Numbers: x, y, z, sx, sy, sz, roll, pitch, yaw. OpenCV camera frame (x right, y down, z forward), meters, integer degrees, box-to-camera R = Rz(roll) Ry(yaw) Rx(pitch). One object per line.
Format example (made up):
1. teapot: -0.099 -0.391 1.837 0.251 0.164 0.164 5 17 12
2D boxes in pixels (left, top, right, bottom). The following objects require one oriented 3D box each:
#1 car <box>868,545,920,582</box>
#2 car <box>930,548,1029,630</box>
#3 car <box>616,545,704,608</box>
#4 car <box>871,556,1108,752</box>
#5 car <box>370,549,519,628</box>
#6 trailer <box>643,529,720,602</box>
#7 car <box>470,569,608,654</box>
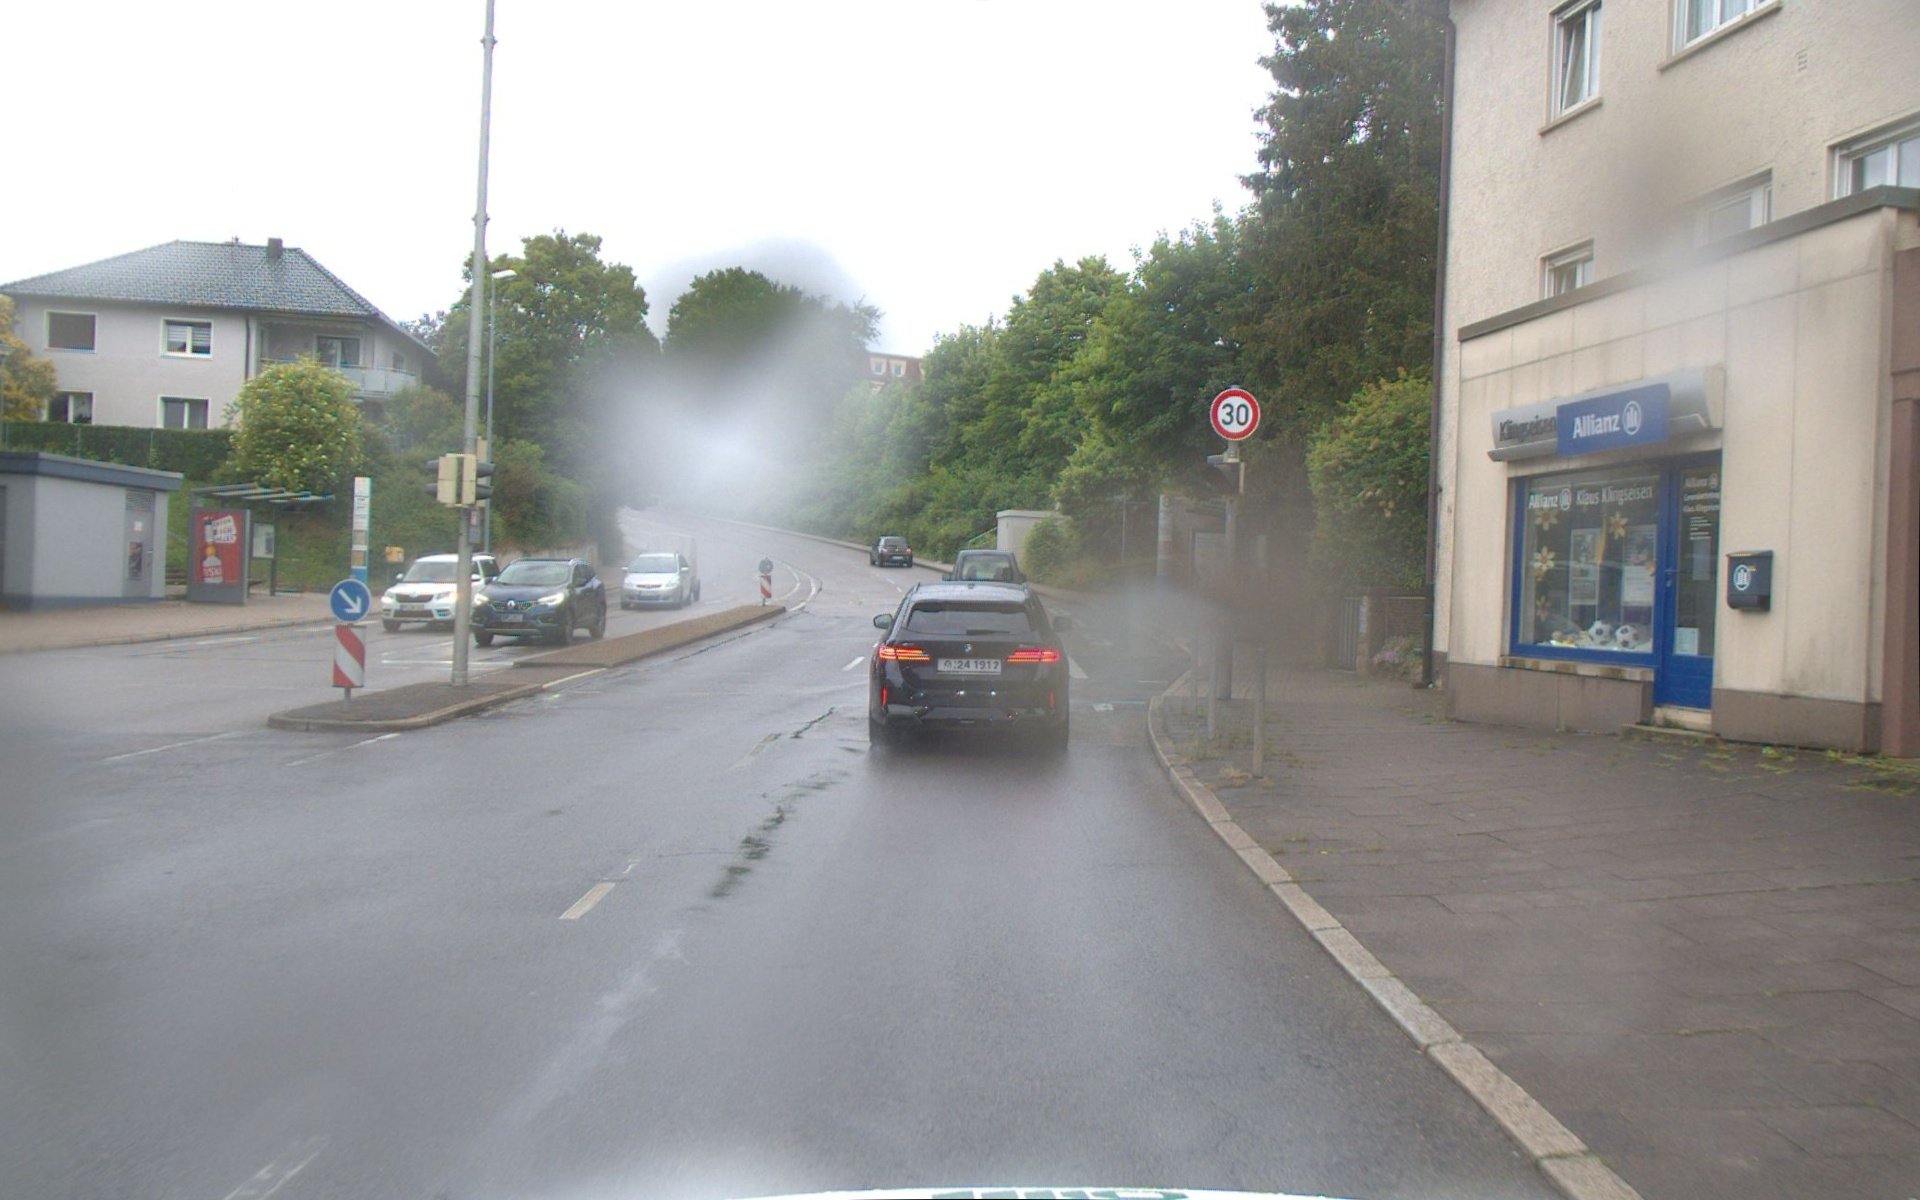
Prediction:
1. car: -3.301 -1.831 81.995 1.820 1.690 3.986 2 2 -14
2. car: 0.392 -0.286 38.370 1.954 1.779 3.997 0 1 -4
3. car: -8.785 -0.736 48.811 1.861 1.712 4.479 1 2 -1
4. car: 0.134 0.505 16.392 1.954 1.614 4.659 2 -1 -3
5. car: -11.586 -0.272 37.473 1.785 1.686 4.468 0 1 3
6. trailer: -8.888 -1.101 53.082 1.858 2.217 4.035 1 1 -1
7. car: -8.246 0.193 32.759 1.804 1.579 4.381 0 1 -3
